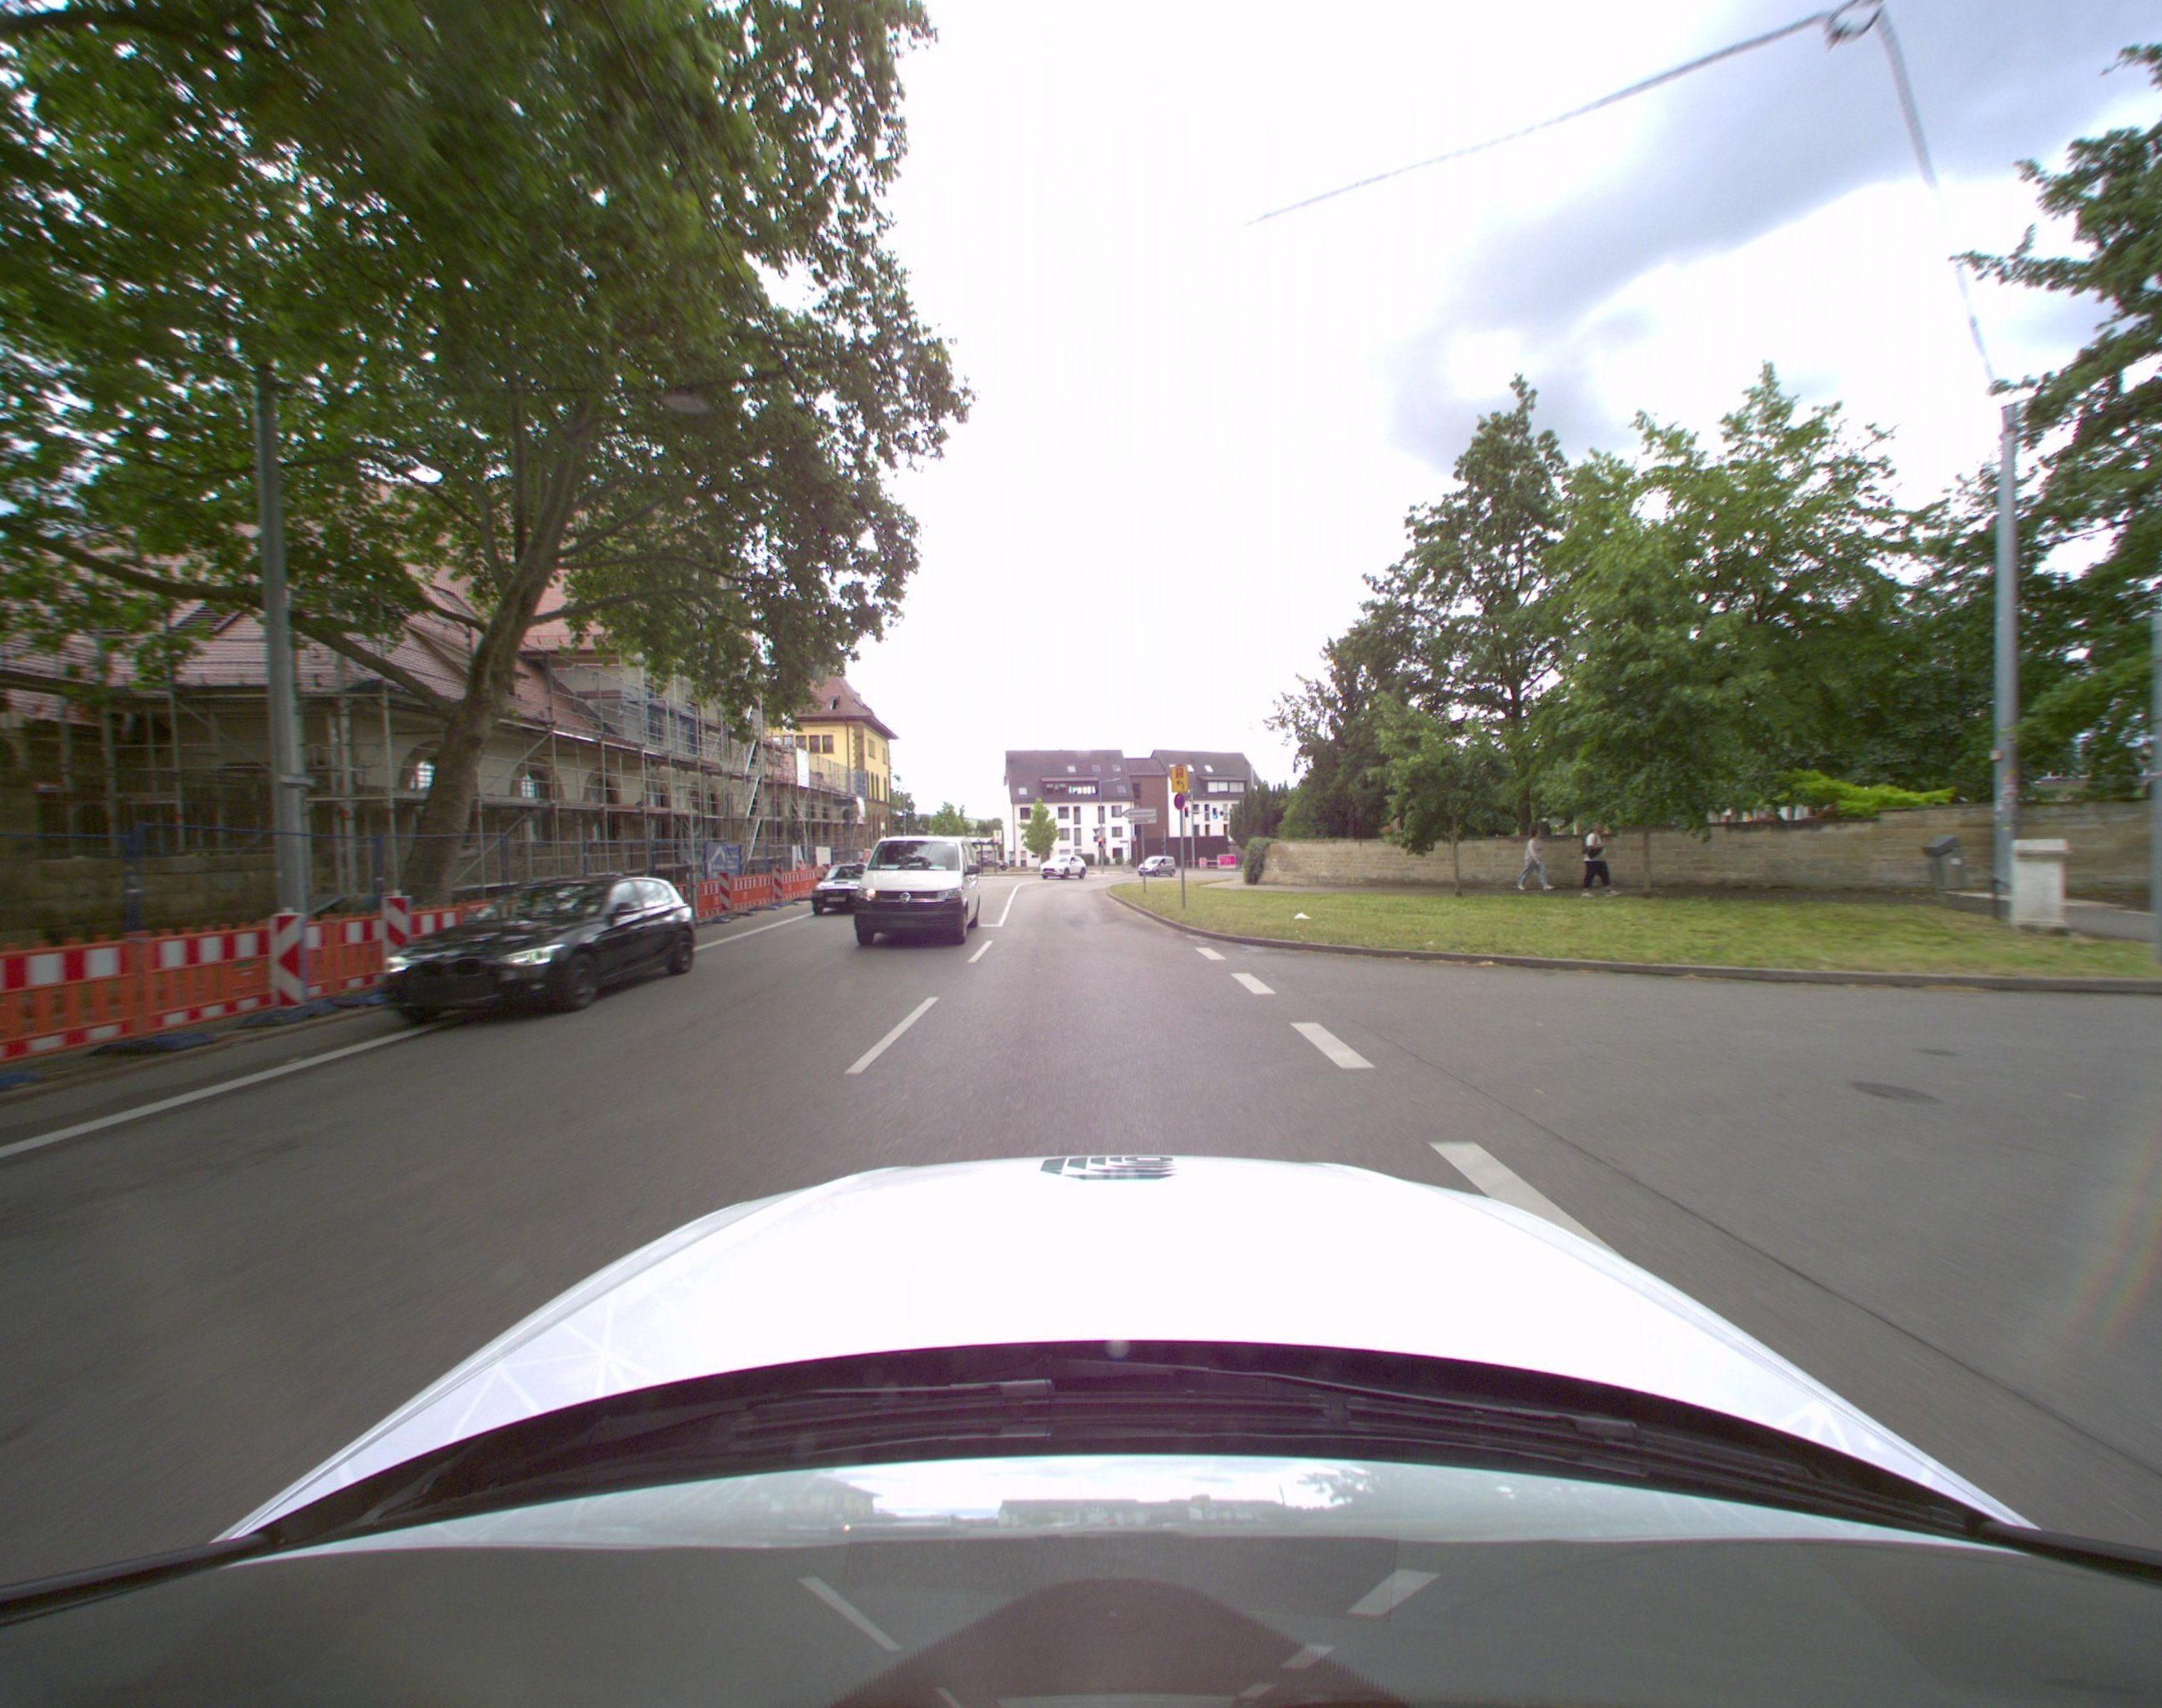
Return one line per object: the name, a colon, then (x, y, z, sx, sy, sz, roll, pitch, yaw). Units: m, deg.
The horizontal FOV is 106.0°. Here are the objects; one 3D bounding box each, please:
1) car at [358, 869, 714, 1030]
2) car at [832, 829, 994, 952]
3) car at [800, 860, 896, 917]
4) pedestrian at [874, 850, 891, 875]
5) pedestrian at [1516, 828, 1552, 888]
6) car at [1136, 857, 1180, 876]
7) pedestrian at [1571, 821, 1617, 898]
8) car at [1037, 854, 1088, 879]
car: (-6.212, 0.956, 9.990, 1.696, 1.426, 4.243, -2, 0, -4)
car: (-3.024, 0.599, 15.943, 2.199, 1.931, 5.235, -2, 0, -2)
car: (-6.825, 0.943, 24.322, 1.798, 1.458, 4.629, -2, 0, -4)
pedestrian: (-13.651, 0.590, 56.029, 0.920, 1.720, 0.798, 1, -1, -1)
pedestrian: (12.214, 0.107, 21.980, 0.584, 1.585, 0.569, -4, 1, -33)
car: (6.667, 1.102, 69.988, 1.676, 1.614, 4.108, 0, -1, 40)
pedestrian: (11.875, 0.116, 18.853, 0.715, 1.734, 0.653, -2, 0, -37)
car: (-1.249, 0.915, 56.879, 1.775, 1.611, 4.532, -1, -3, 24)
